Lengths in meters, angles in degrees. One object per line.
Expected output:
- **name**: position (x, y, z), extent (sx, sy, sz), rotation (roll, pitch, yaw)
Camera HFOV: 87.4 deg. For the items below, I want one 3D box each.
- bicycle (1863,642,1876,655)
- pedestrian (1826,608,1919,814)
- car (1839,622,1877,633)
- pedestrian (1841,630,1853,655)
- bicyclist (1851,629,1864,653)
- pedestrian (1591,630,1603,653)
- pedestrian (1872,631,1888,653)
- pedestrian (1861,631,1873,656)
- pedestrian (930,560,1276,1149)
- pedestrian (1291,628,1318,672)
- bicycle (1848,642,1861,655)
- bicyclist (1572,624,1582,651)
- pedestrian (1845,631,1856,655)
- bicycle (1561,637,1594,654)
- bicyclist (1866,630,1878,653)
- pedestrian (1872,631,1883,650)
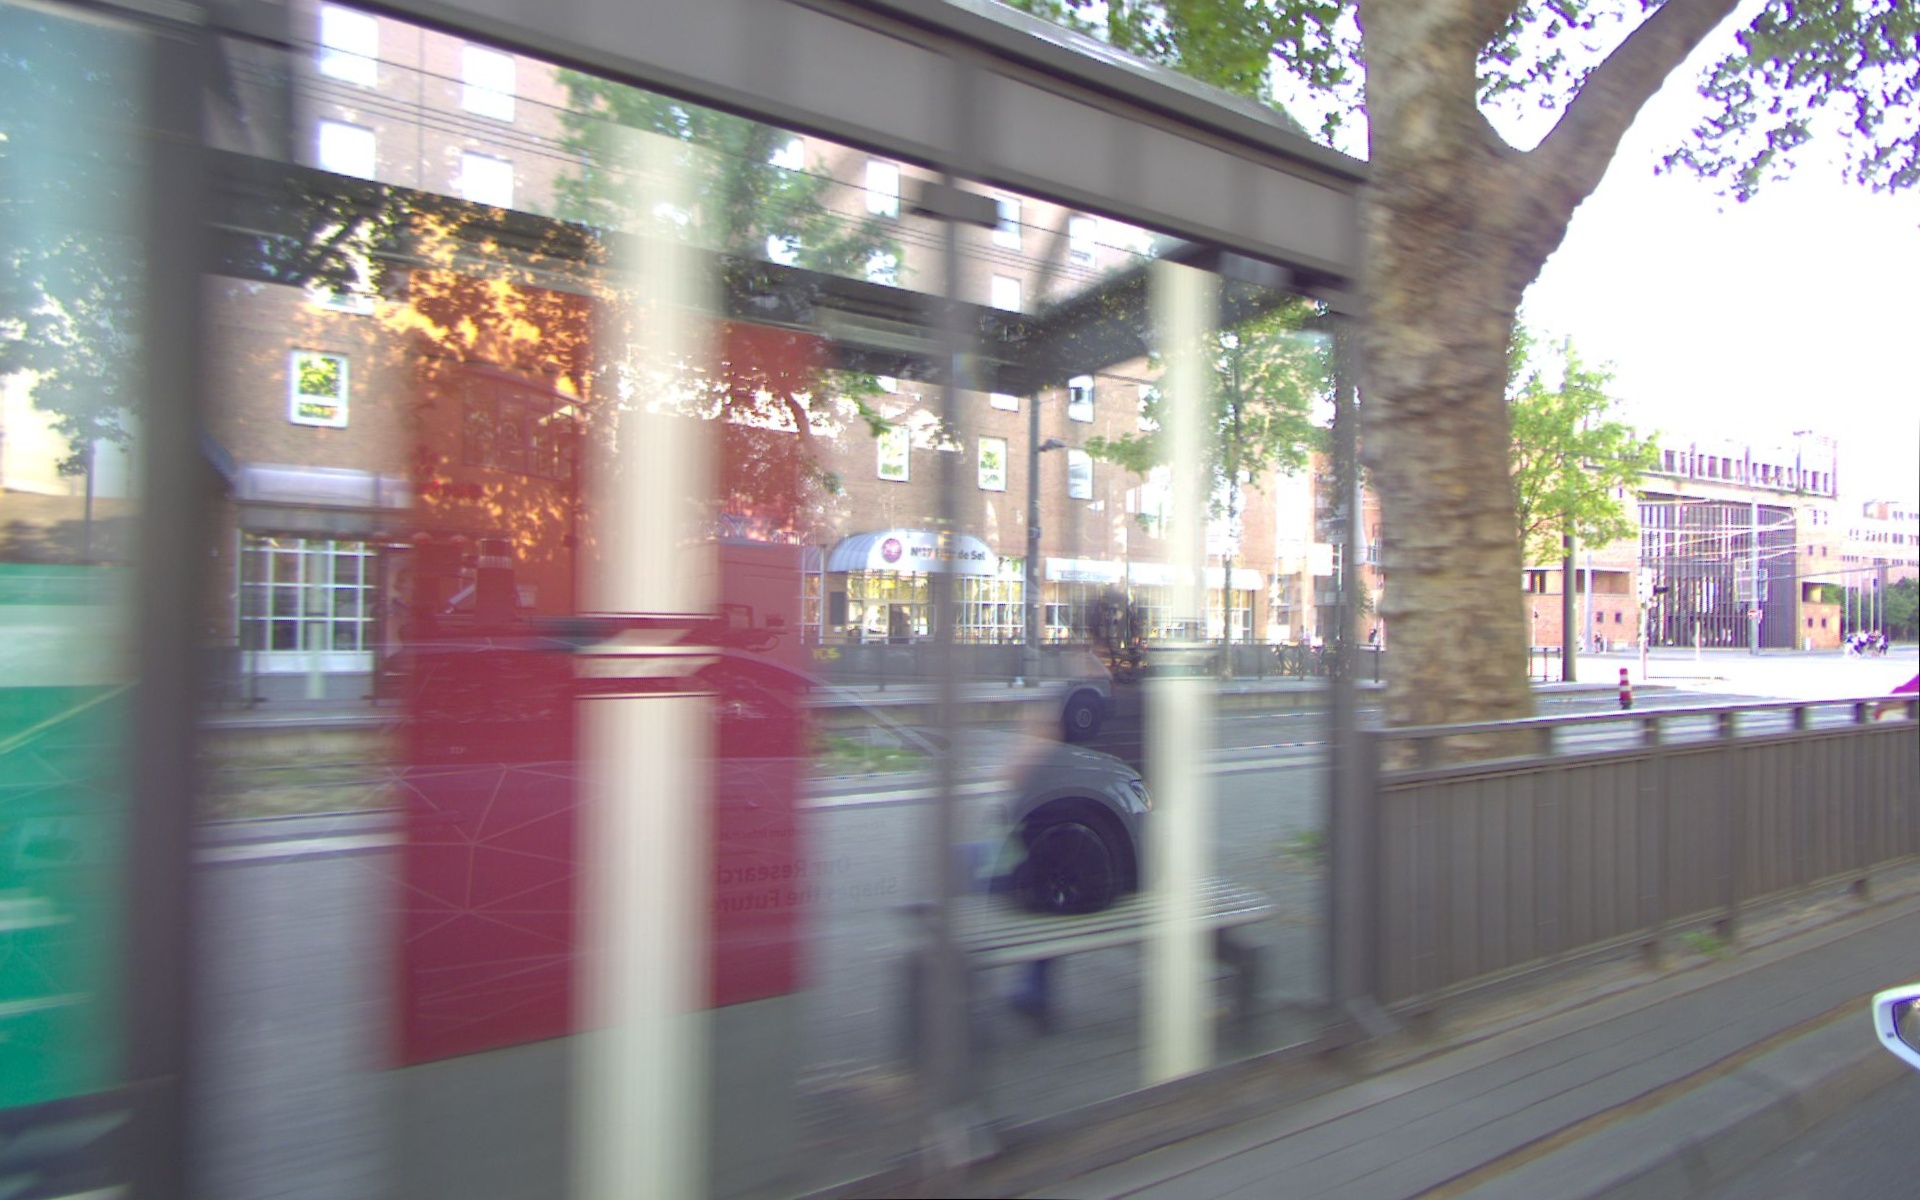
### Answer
- **bicycle**: position (67.249, 3.583, 74.235), extent (1.825, 0.893, 0.508), rotation (2, -2, -41)
- **pedestrian**: position (6.954, 0.789, 7.168), extent (0.656, 1.418, 0.973), rotation (2, 0, -28)
- **car**: position (135.076, 4.136, 151.071), extent (3.925, 1.572, 1.605), rotation (2, 0, 27)
- **pedestrian**: position (61.378, 2.949, 69.508), extent (0.530, 1.672, 0.623), rotation (-1, -2, 38)
- **bicyclist**: position (66.746, 3.045, 74.689), extent (0.783, 1.697, 0.588), rotation (1, -2, -39)
- **pedestrian**: position (46.817, 3.042, 73.824), extent (0.560, 1.635, 0.545), rotation (1, -1, -2)
- **pedestrian**: position (64.767, 2.950, 70.737), extent (0.504, 1.550, 0.748), rotation (1, 0, -40)
- **pedestrian**: position (62.453, 2.979, 69.156), extent (0.530, 1.672, 0.623), rotation (-1, -2, 38)
- **pedestrian**: position (0.379, 0.614, 2.873), extent (0.632, 1.406, 0.731), rotation (2, 0, -28)
- **pedestrian**: position (13.010, 1.893, 37.909), extent (0.718, 1.606, 0.585), rotation (2, 1, -34)
- **bicycle**: position (66.567, 3.609, 74.754), extent (1.825, 0.893, 0.508), rotation (2, -2, -41)
- **bicyclist**: position (46.842, 2.834, 76.199), extent (0.551, 2.087, 0.451), rotation (0, -1, 18)
- **pedestrian**: position (62.464, 3.019, 70.489), extent (0.530, 1.672, 0.623), rotation (-1, -2, 38)
- **bicycle**: position (46.838, 3.437, 76.183), extent (2.055, 1.255, 0.453), rotation (0, -2, 19)
- **bicyclist**: position (67.358, 3.065, 74.186), extent (0.783, 1.697, 0.588), rotation (1, -2, -39)
- **pedestrian**: position (87.786, 3.840, 96.094), extent (0.538, 1.834, 0.639), rotation (1, -1, -26)
